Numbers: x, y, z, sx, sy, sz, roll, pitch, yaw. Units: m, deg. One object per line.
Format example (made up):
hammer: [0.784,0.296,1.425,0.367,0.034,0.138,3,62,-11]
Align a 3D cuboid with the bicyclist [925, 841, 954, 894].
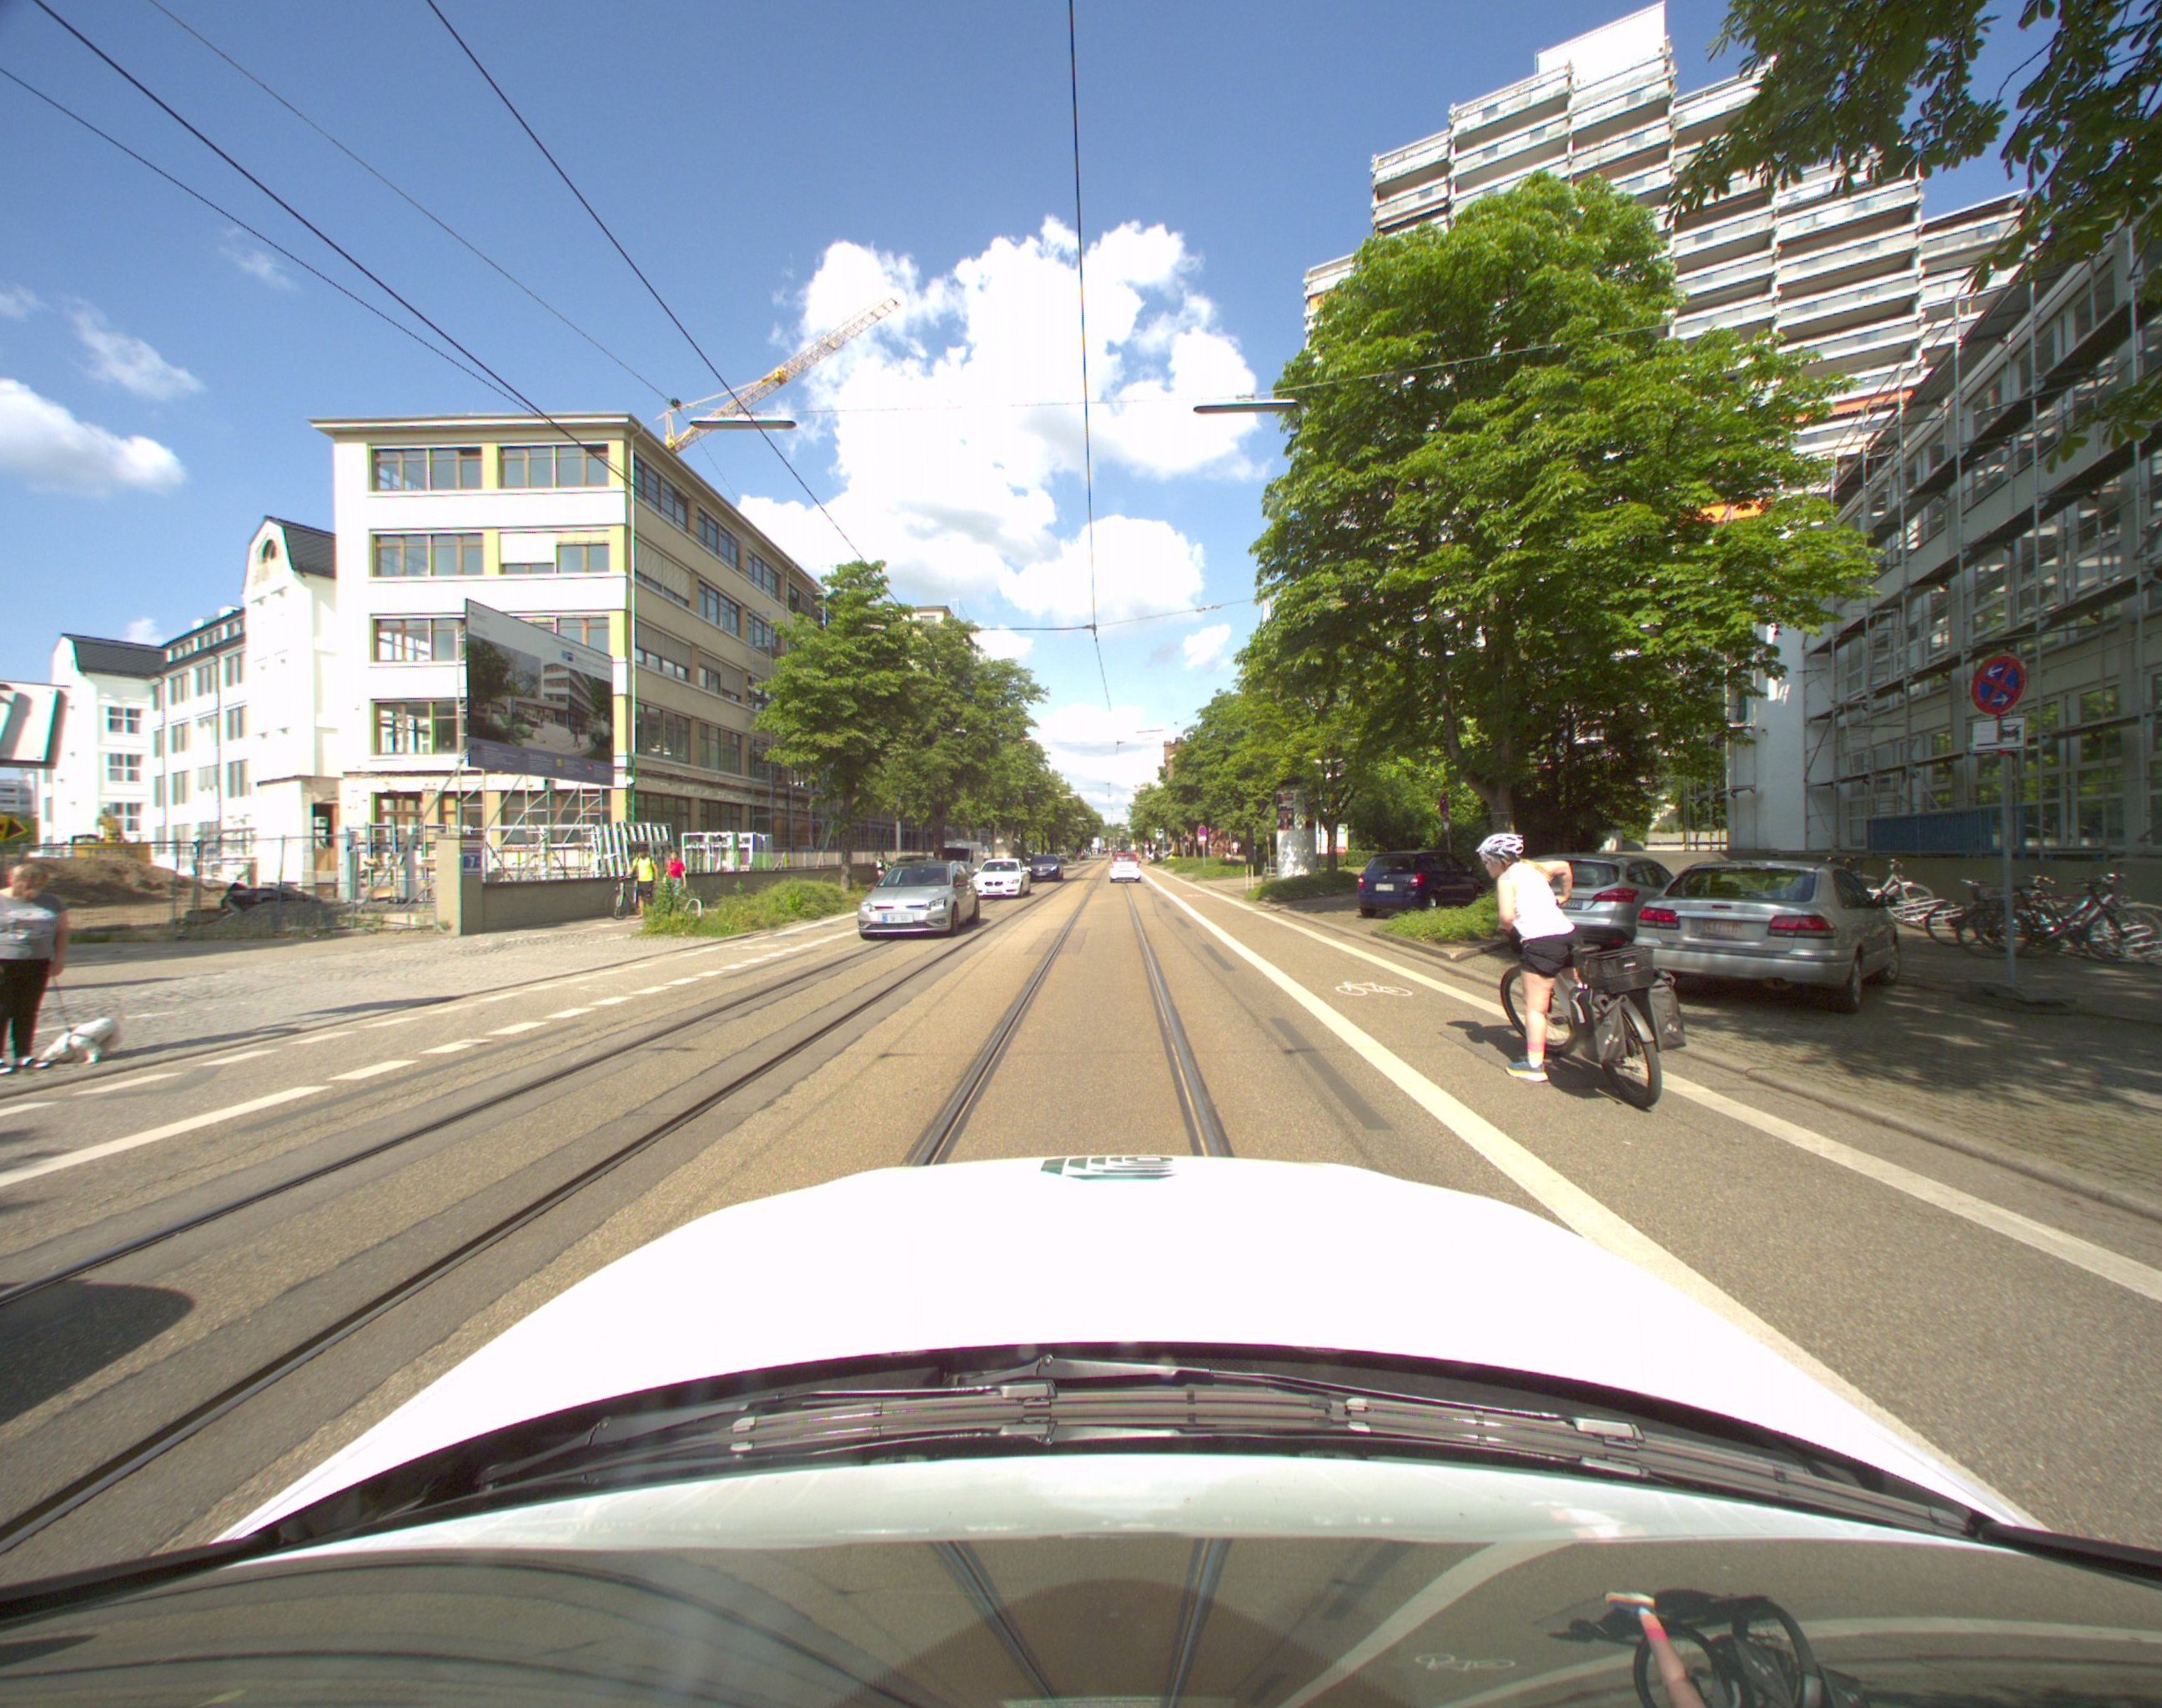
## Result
bicyclist: [-5.531,0.512,31.888,0.873,2.014,0.834,-3,-1,1]

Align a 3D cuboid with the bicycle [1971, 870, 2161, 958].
bicycle: [13.340,0.786,10.880,1.877,1.096,0.454,-2,0,33]

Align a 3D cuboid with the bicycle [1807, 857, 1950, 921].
bicycle: [14.596,0.641,14.965,1.809,1.095,0.454,-2,2,33]

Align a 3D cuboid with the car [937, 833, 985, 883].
car: [-6.732,0.225,46.229,1.762,2.639,5.325,1,0,2]

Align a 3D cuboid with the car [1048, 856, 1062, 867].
car: [-3.834,1.113,121.707,1.797,1.516,4.105,1,0,2]

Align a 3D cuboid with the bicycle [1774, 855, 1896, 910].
bicycle: [15.722,0.573,17.027,1.809,1.096,0.454,-1,1,33]

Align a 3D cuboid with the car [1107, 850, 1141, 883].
car: [2.249,0.623,43.546,1.660,1.624,3.621,-1,0,1]

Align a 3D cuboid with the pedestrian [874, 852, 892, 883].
pedestrian: [-10.365,0.697,42.577,0.761,1.620,0.594,1,-1,2]

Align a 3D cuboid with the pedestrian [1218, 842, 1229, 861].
pedestrian: [15.174,-0.231,86.534,0.974,2.014,1.093,1,0,1]

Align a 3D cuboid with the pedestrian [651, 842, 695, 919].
pedestrian: [-10.099,0.643,20.158,0.706,1.831,0.661,2,1,-4]

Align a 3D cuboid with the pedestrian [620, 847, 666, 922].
pedestrian: [-10.806,0.749,20.097,0.706,1.793,0.661,3,-1,-4]

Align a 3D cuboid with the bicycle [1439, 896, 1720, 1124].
bicycle: [3.238,0.915,5.603,0.870,1.126,2.141,1,0,8]

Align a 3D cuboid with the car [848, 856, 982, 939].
car: [-3.189,0.780,16.436,1.767,1.416,3.853,-2,0,1]

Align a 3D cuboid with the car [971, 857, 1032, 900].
car: [-2.818,0.841,29.720,1.680,1.405,4.228,-1,0,2]

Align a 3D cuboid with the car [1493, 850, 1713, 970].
car: [7.766,0.691,11.994,3.824,1.474,1.634,0,1,-40]

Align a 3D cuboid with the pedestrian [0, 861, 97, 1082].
pedestrian: [-8.322,0.875,6.282,0.730,1.637,0.685,1,-1,-32]

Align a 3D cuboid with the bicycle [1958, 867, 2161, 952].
bicycle: [13.614,0.759,11.304,1.877,1.096,0.454,-2,0,33]

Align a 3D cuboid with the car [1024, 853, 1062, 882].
car: [-2.113,0.736,46.003,1.794,1.508,4.537,0,0,1]

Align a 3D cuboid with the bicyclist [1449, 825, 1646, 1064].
bicyclist: [3.264,0.583,5.825,0.885,1.529,1.087,1,0,8]

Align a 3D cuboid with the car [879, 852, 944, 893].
car: [-7.320,0.776,35.560,1.797,1.662,4.105,1,0,2]

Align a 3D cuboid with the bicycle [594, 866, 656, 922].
bicycle: [-11.264,0.968,20.172,0.444,1.286,1.740,-1,0,4]

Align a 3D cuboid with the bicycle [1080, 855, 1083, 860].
bicycle: [0.109,0.721,158.598,0.615,0.973,1.719,-1,0,3]

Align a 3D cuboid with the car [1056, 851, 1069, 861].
car: [-3.085,0.348,134.876,1.797,1.516,4.105,-1,0,2]

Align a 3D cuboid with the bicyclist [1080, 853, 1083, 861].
bicyclist: [0.112,0.506,158.554,0.656,1.579,0.946,1,0,0]

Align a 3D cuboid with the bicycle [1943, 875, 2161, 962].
bicycle: [12.748,0.830,10.691,1.877,1.053,0.454,-2,0,33]

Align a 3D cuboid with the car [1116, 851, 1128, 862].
car: [6.296,0.390,125.360,1.659,1.492,3.622,-1,1,1]

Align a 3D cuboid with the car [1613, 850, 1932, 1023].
car: [7.652,0.695,8.883,4.262,1.420,1.705,-1,1,-36]

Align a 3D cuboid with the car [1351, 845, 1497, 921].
car: [7.946,0.595,18.709,4.023,1.486,1.596,-2,0,-44]

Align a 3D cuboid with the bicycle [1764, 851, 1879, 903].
bicycle: [16.363,0.512,18.042,1.809,1.096,0.454,-1,1,33]

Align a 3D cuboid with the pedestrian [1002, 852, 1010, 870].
pedestrian: [-8.316,0.736,90.017,0.802,2.013,0.484,-1,0,-7]
